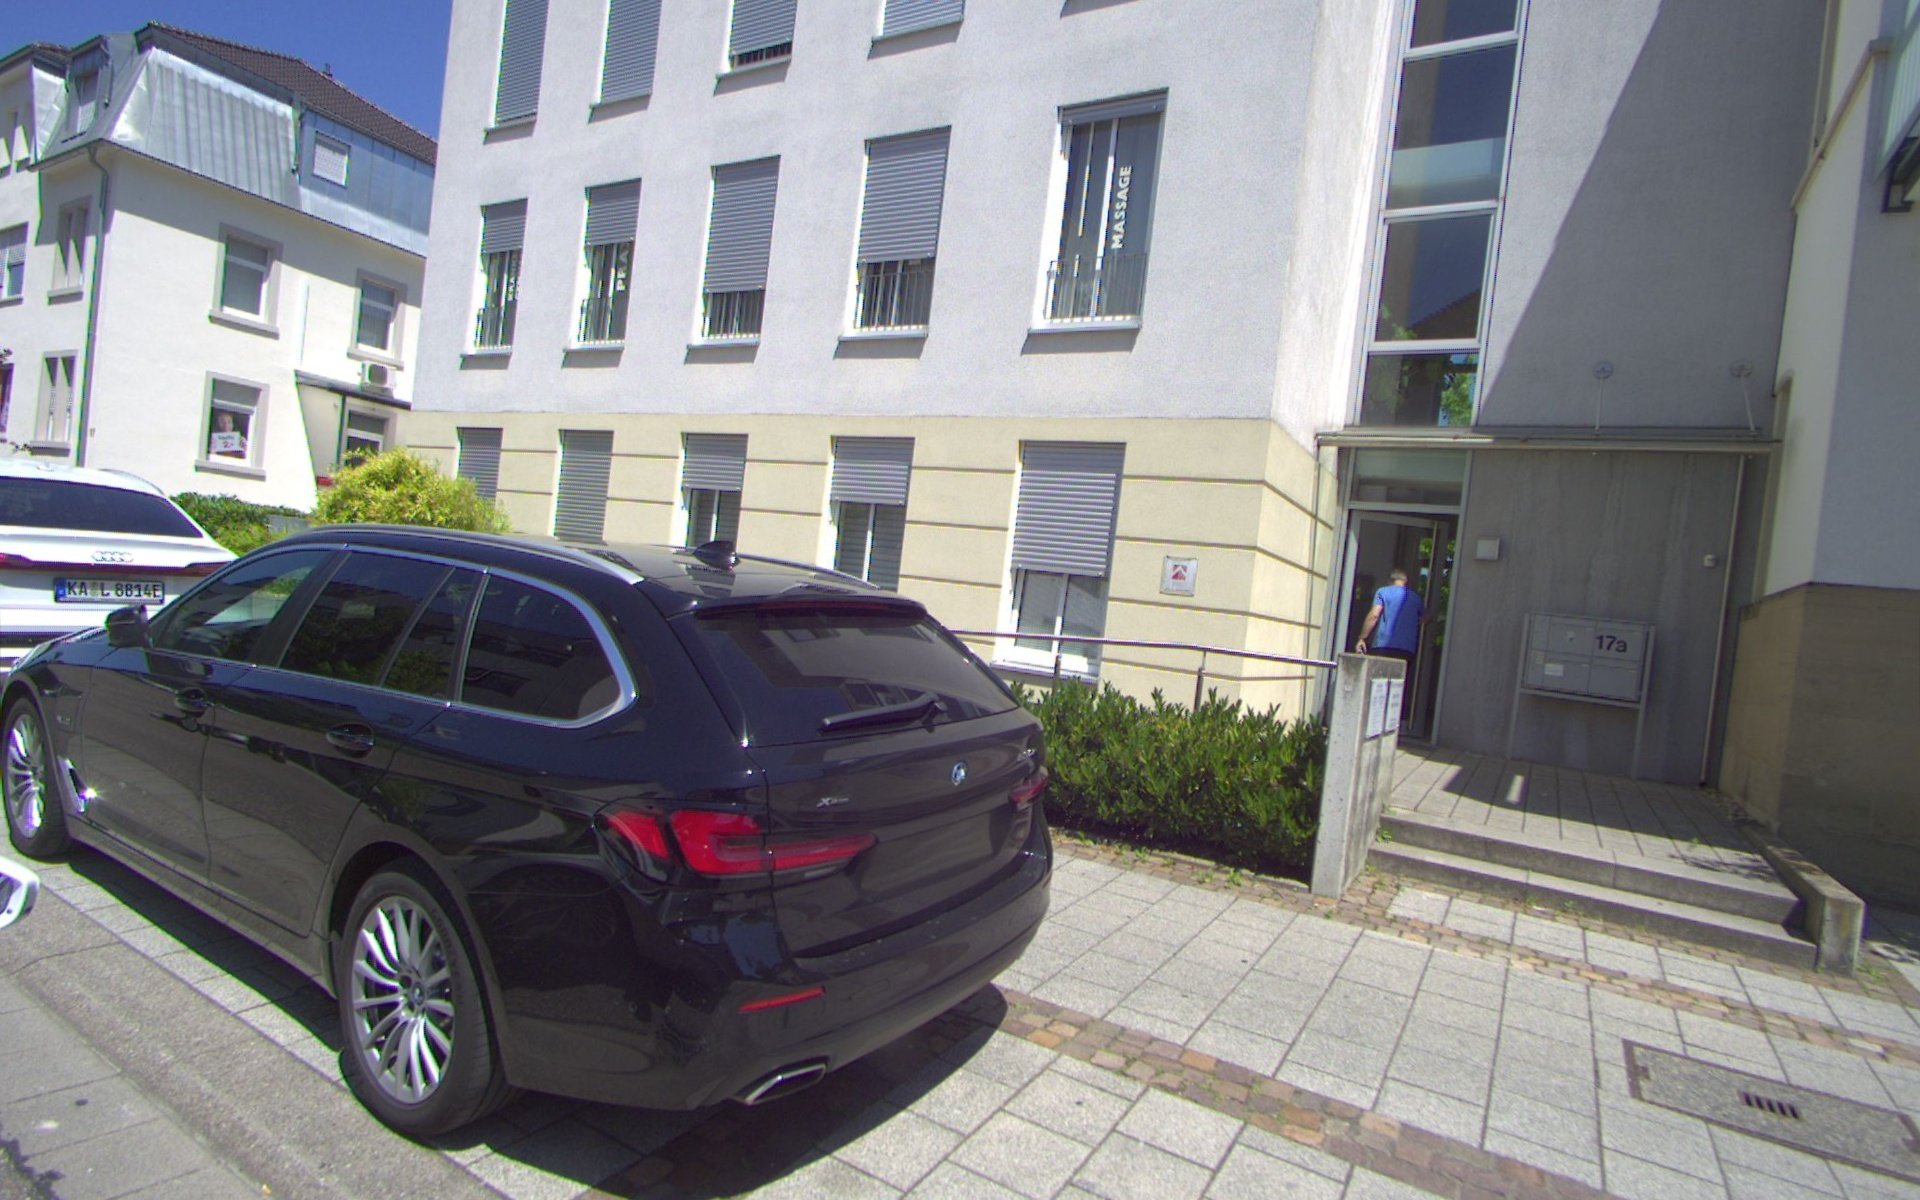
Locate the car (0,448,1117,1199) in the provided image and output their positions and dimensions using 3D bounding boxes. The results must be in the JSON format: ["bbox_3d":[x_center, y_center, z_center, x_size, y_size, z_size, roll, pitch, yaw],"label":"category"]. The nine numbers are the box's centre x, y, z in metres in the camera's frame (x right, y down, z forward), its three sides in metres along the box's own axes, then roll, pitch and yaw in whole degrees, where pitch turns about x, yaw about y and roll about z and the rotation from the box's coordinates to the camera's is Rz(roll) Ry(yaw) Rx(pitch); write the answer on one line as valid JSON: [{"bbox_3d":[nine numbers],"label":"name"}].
[{"bbox_3d":[-1.965,0.369,3.839,4.669,1.577,1.705,7,3,32],"label":"car"}]

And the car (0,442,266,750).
[{"bbox_3d":[-6.947,-0.200,7.034,4.504,1.687,1.707,7,0,32],"label":"car"}]

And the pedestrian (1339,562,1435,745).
[{"bbox_3d":[4.242,0.523,10.012,0.586,1.723,0.410,6,1,-2],"label":"pedestrian"}]
